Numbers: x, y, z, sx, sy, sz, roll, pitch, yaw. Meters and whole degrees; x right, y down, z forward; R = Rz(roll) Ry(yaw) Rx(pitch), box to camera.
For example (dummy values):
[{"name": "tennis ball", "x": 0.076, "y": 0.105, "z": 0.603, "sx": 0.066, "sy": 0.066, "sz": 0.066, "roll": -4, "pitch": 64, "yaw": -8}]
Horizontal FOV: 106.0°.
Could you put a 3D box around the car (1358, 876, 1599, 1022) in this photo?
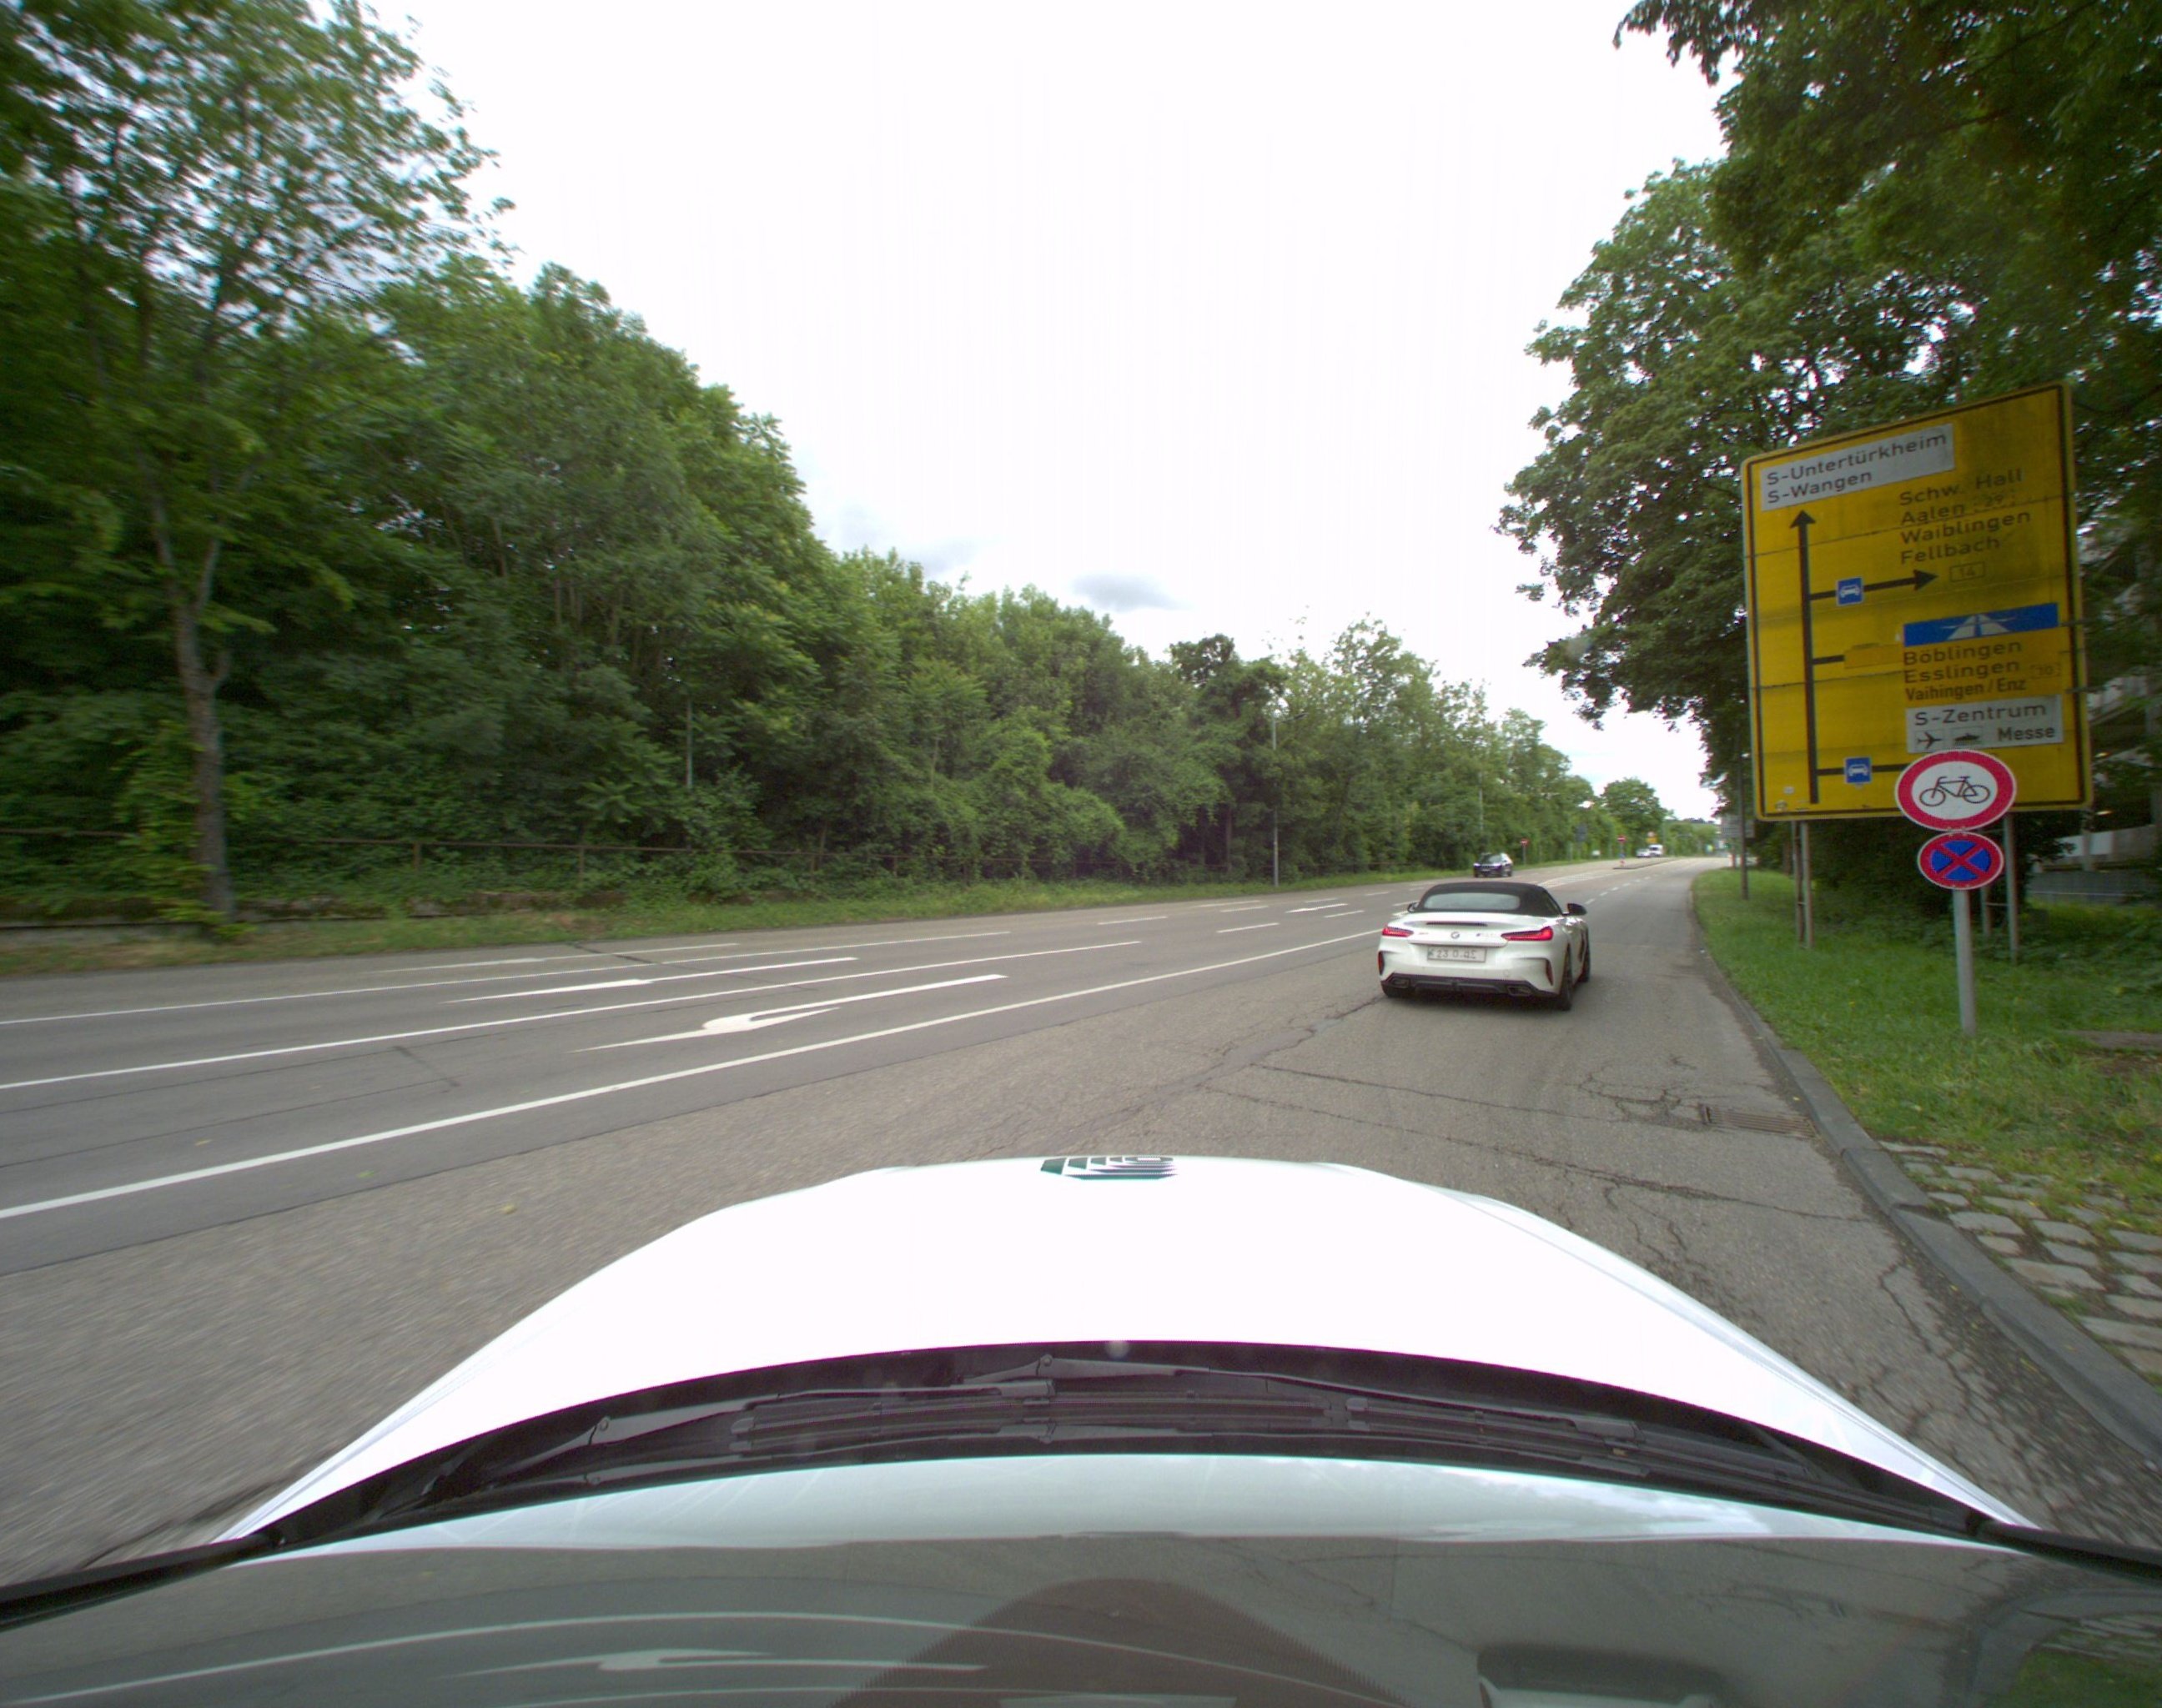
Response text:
[{"name": "car", "x": 4.848, "y": 0.932, "z": 9.622, "sx": 1.857, "sy": 1.309, "sz": 3.897, "roll": -1, "pitch": -1, "yaw": 37}]

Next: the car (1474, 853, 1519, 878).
[{"name": "car", "x": 28.924, "y": 0.809, "z": 56.591, "sx": 1.805, "sy": 1.653, "sz": 4.247, "roll": 1, "pitch": 0, "yaw": 40}]
